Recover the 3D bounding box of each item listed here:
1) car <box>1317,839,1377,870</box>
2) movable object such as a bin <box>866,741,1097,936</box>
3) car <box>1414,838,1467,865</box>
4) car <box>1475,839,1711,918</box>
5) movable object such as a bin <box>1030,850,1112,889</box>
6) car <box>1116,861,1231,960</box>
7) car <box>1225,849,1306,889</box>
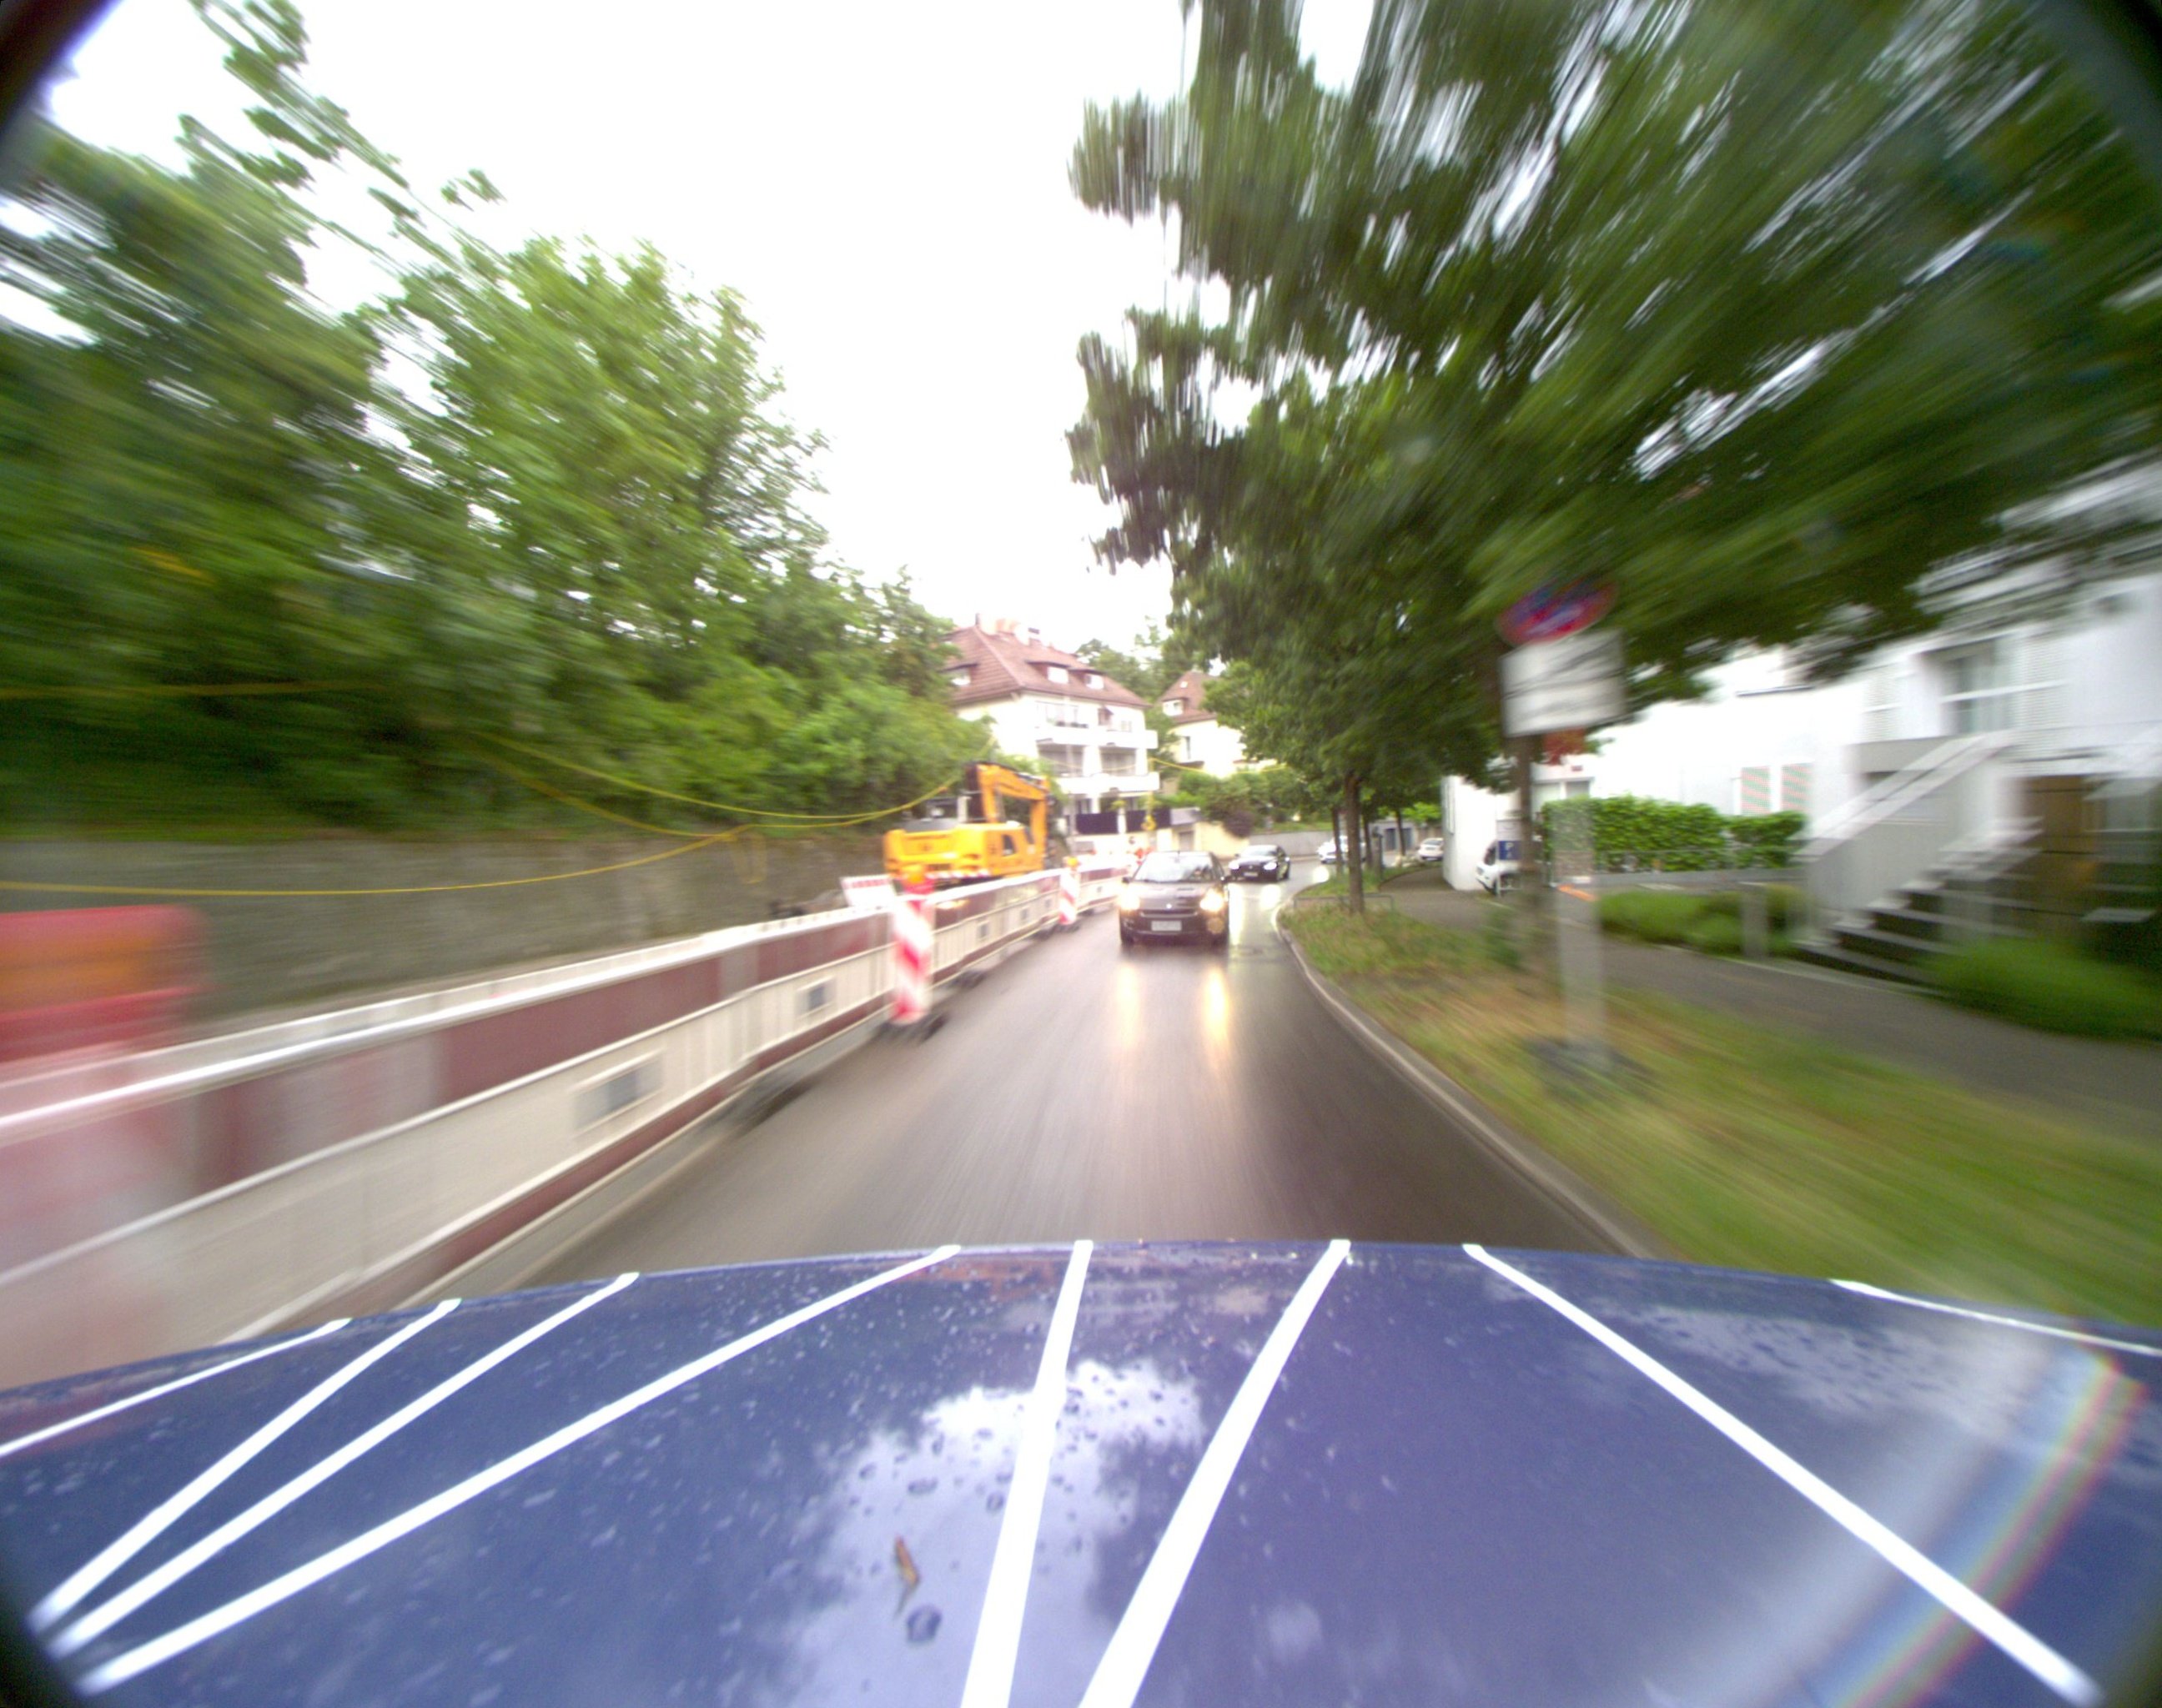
[{"bbox_3d":[16.164,-0.025,46.070,2.008,1.653,4.453,3,4,38],"label":"car"},{"bbox_3d":[-2.079,-0.360,19.501,2.822,3.991,7.336,-1,1,19],"label":"movable object such as a bin"},{"bbox_3d":[23.250,-0.176,49.077,1.683,1.499,4.324,-4,-1,44],"label":"car"},{"bbox_3d":[11.038,0.476,16.726,3.991,1.552,1.752,0,2,21],"label":"car"},{"bbox_3d":[-0.365,0.628,32.880,1.995,1.510,4.006,-1,0,25],"label":"movable object such as a bin"},{"bbox_3d":[1.709,0.879,12.999,1.576,1.443,3.592,0,-2,13],"label":"car"},{"bbox_3d":[7.540,0.585,30.845,1.803,1.480,4.025,-1,0,35],"label":"car"}]
